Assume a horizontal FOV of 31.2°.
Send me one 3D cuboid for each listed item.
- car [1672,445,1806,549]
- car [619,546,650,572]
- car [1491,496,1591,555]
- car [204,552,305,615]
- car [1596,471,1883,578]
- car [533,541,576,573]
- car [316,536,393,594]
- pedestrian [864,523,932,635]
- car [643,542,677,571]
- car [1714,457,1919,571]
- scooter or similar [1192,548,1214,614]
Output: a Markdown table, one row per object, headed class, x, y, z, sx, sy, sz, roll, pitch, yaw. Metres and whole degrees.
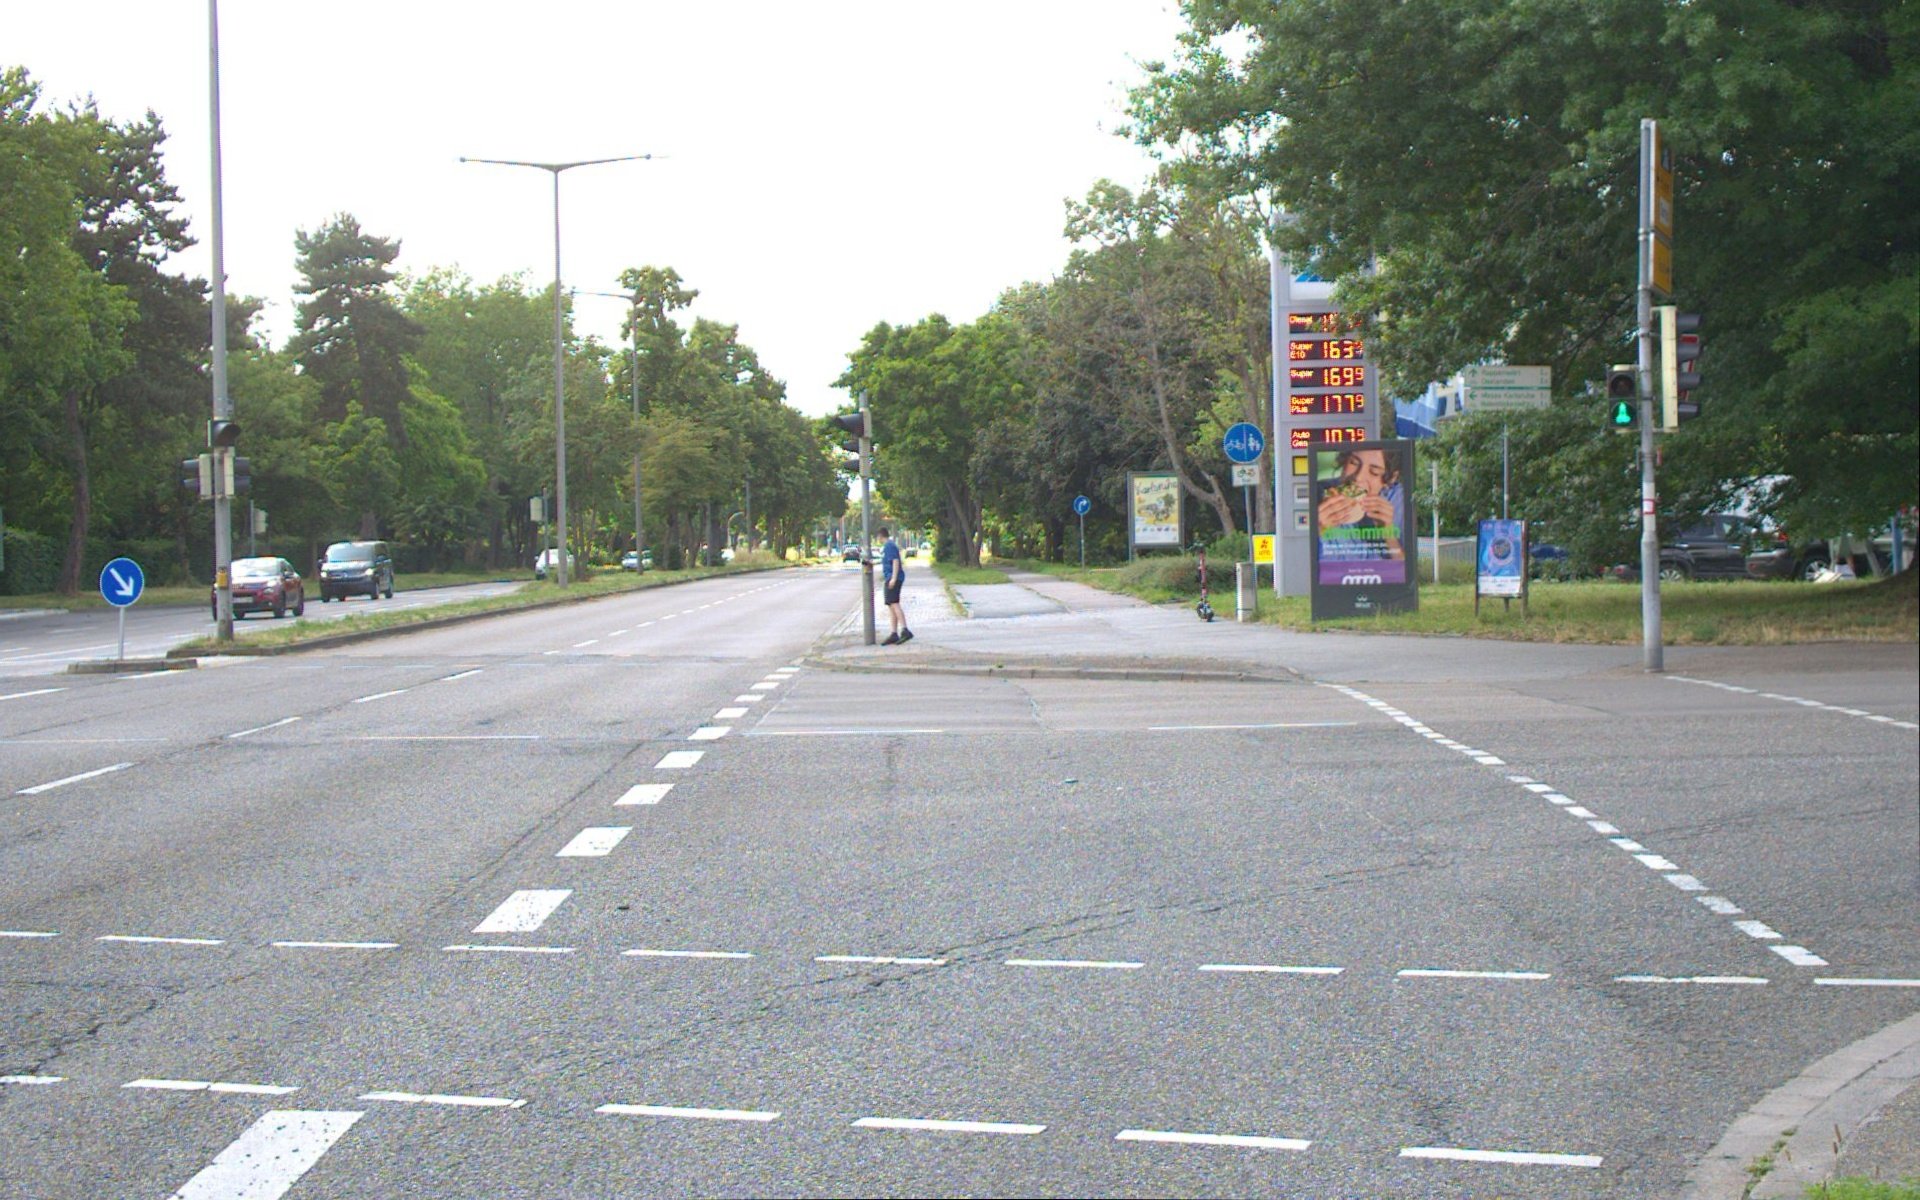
| class | x | y | z | sx | sy | sz | roll | pitch | yaw |
| --- | --- | --- | --- | --- | --- | --- | --- | --- | --- |
| car | 19.167 | -2.496 | 84.805 | 1.750 | 2.445 | 5.751 | -1 | 1 | -2 |
| car | -22.641 | -2.870 | 239.223 | 1.860 | 1.699 | 4.456 | -2 | 1 | -3 |
| car | 14.806 | -1.893 | 87.781 | 1.750 | 1.449 | 3.741 | -1 | 1 | -2 |
| car | -17.387 | -0.429 | 84.887 | 1.771 | 1.460 | 4.456 | -1 | 1 | -3 |
| car | 15.628 | -1.511 | 69.080 | 5.180 | 1.997 | 2.154 | -1 | 1 | -4 |
| car | -21.936 | -2.342 | 186.052 | 1.860 | 1.699 | 4.456 | -1 | 1 | -2 |
| car | -20.394 | -1.204 | 115.971 | 1.765 | 1.850 | 4.817 | -1 | 1 | -1 |
| pedestrian | -0.860 | -0.294 | 47.645 | 0.725 | 1.526 | 0.760 | -2 | 1 | -17 |
| car | -18.312 | -2.666 | 209.909 | 1.860 | 1.699 | 4.456 | -2 | 1 | -3 |
| car | 15.631 | -1.470 | 58.091 | 5.179 | 1.820 | 2.154 | -2 | 1 | -11 |
| scooter or similar | 3.662 | -0.287 | 51.836 | 0.221 | 0.976 | 1.272 | -1 | 1 | 0 |
